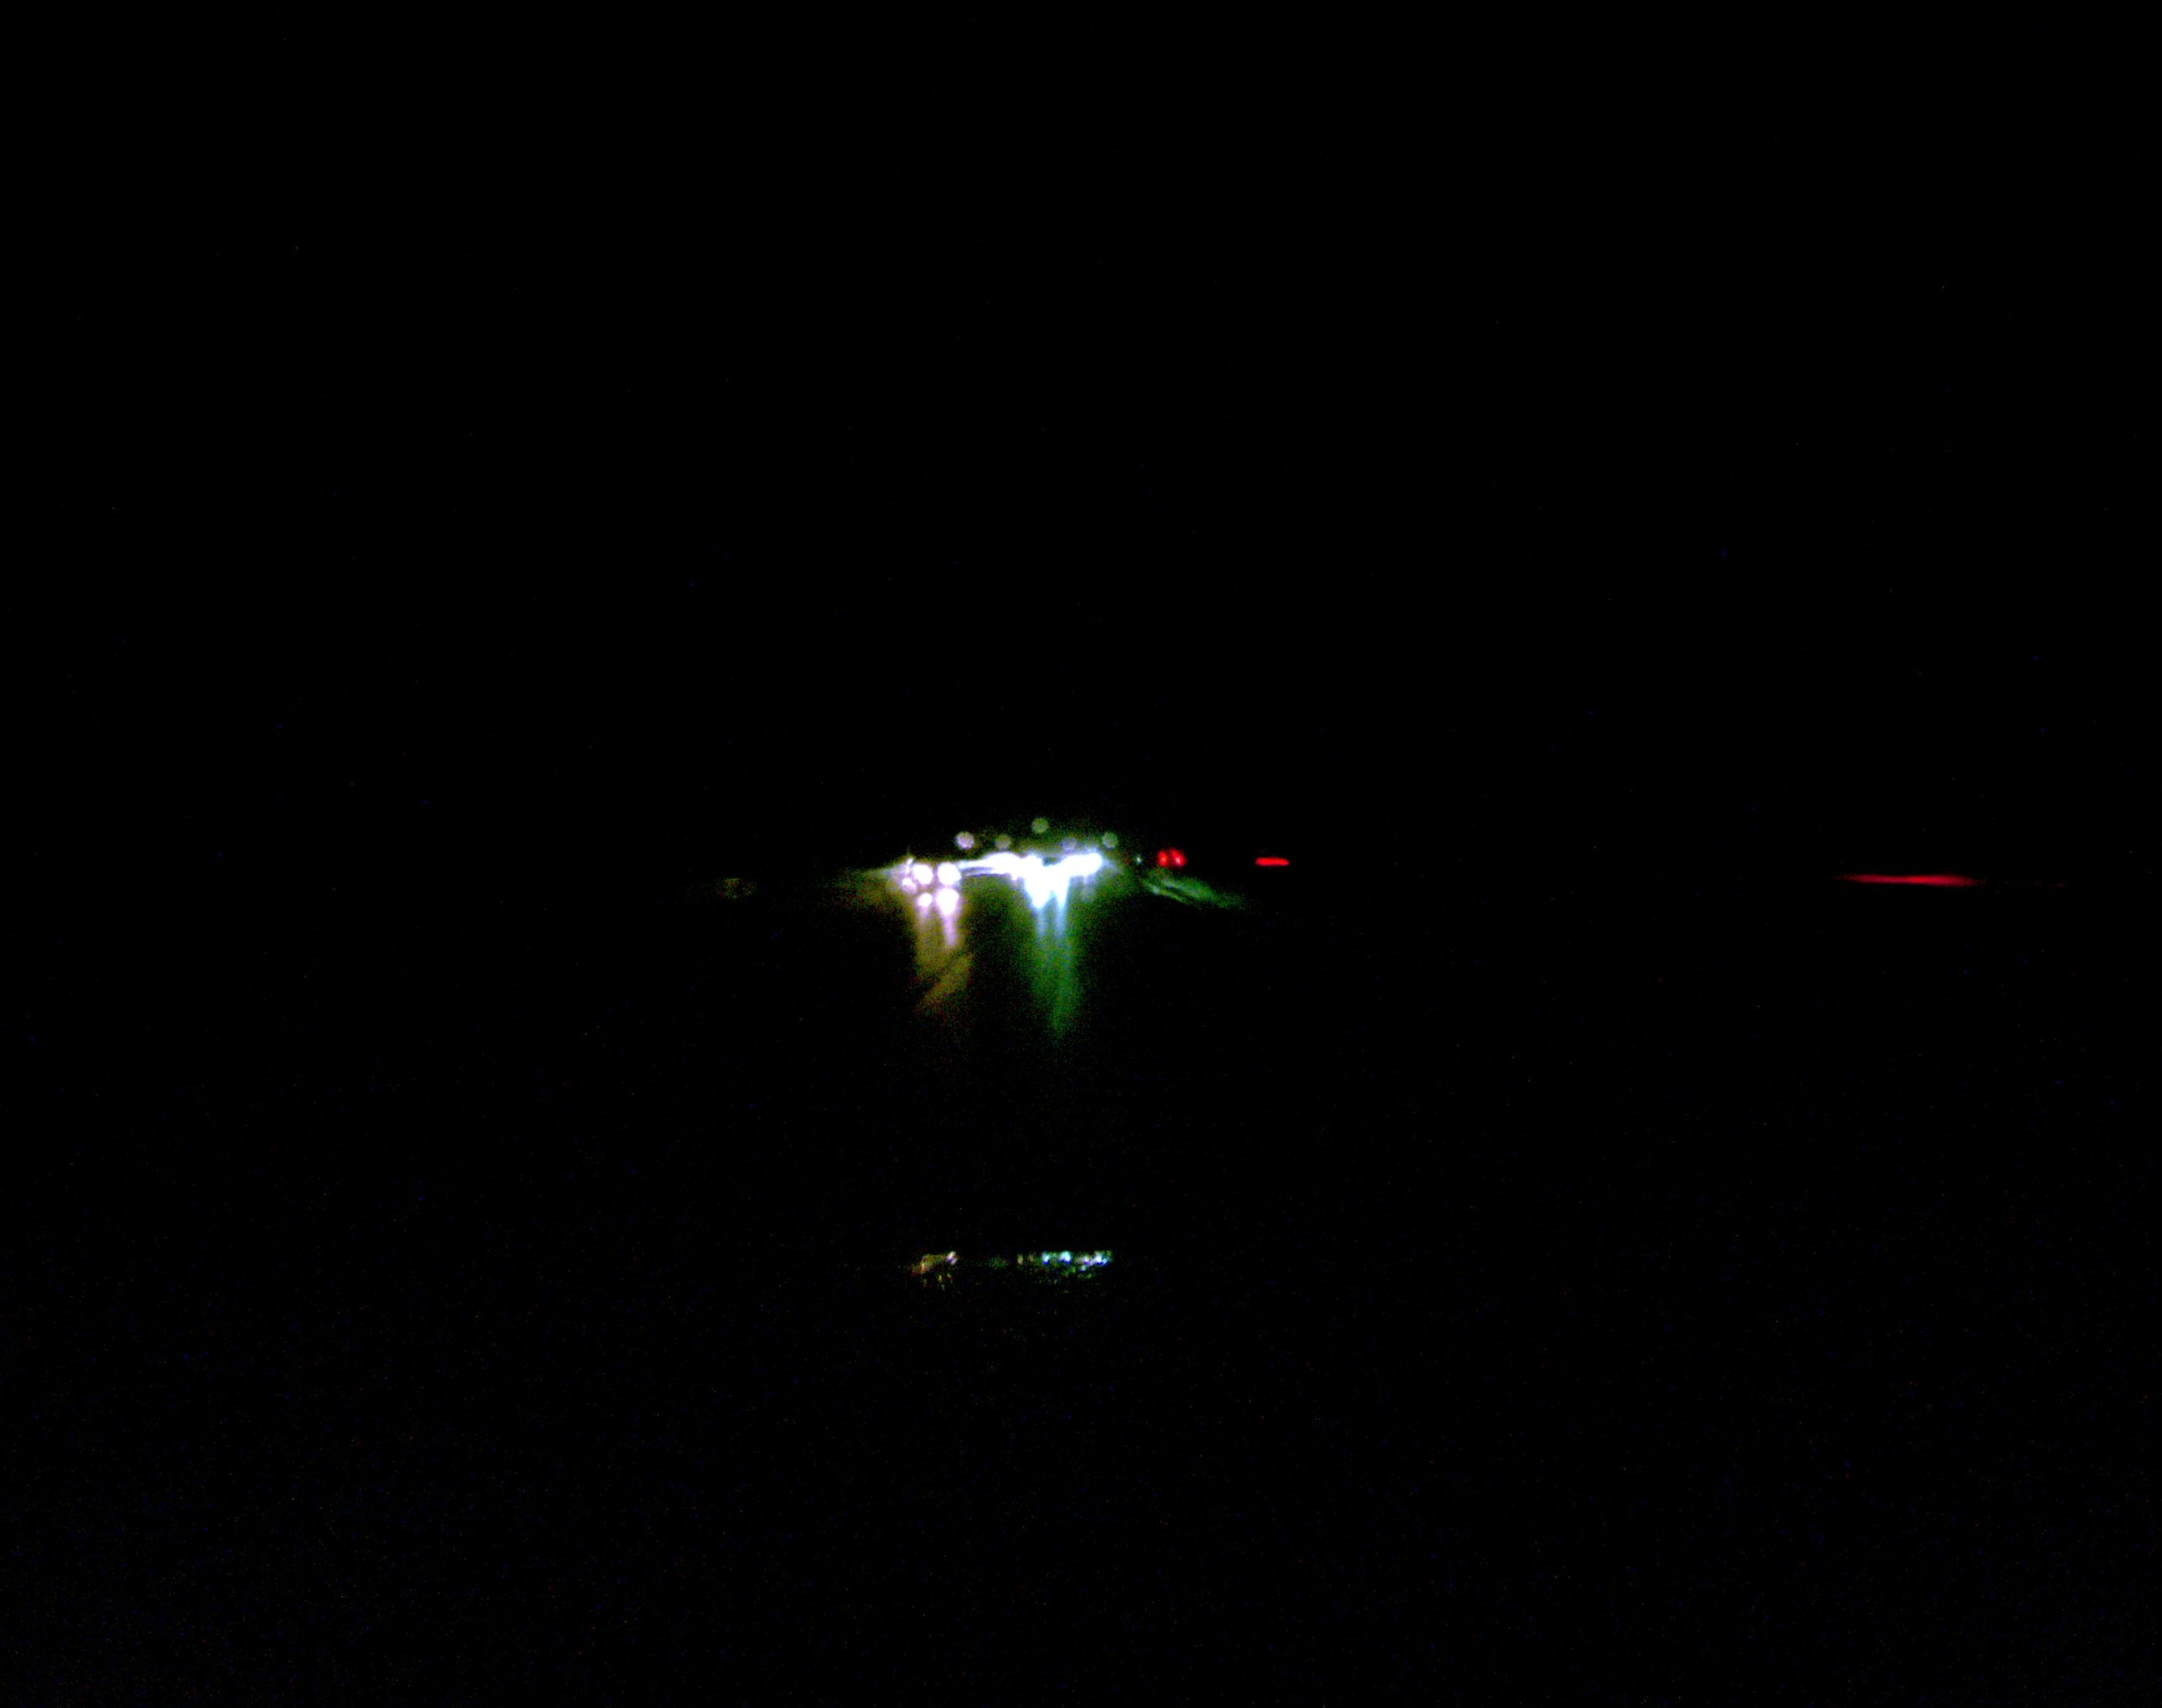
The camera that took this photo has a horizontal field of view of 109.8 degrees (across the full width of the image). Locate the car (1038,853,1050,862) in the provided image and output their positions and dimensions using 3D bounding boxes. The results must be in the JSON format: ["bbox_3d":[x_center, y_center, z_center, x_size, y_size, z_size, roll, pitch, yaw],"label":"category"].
[{"bbox_3d":[-7.208,0.682,148.181,1.882,1.653,4.002,-3,-1,4],"label":"car"}]

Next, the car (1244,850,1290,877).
[{"bbox_3d":[13.491,0.634,55.433,1.998,1.729,5.235,-3,0,1],"label":"car"}]

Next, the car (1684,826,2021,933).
[{"bbox_3d":[16.651,0.460,16.973,1.999,2.002,5.359,0,0,-1],"label":"car"}]

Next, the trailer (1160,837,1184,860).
[{"bbox_3d":[18.707,-1.075,156.919,2.980,4.243,14.862,-5,0,1],"label":"trailer"}]

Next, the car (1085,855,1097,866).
[{"bbox_3d":[1.642,1.137,131.408,1.883,1.653,4.000,-3,-1,-1],"label":"car"}]

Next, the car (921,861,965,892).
[{"bbox_3d":[-7.127,1.136,39.592,1.644,1.494,4.012,-1,0,-2],"label":"car"}]

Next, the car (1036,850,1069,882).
[{"bbox_3d":[-1.915,0.779,50.812,1.999,2.002,3.999,-2,0,-3],"label":"car"}]

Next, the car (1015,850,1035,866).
[{"bbox_3d":[-6.629,0.519,90.348,1.832,1.835,4.699,-3,-1,0],"label":"car"}]

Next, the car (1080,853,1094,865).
[{"bbox_3d":[0.901,0.821,113.581,1.883,1.653,4.001,-3,-1,1],"label":"car"}]

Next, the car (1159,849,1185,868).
[{"bbox_3d":[9.287,0.436,77.959,1.999,1.729,3.999,-3,0,-1],"label":"car"}]
